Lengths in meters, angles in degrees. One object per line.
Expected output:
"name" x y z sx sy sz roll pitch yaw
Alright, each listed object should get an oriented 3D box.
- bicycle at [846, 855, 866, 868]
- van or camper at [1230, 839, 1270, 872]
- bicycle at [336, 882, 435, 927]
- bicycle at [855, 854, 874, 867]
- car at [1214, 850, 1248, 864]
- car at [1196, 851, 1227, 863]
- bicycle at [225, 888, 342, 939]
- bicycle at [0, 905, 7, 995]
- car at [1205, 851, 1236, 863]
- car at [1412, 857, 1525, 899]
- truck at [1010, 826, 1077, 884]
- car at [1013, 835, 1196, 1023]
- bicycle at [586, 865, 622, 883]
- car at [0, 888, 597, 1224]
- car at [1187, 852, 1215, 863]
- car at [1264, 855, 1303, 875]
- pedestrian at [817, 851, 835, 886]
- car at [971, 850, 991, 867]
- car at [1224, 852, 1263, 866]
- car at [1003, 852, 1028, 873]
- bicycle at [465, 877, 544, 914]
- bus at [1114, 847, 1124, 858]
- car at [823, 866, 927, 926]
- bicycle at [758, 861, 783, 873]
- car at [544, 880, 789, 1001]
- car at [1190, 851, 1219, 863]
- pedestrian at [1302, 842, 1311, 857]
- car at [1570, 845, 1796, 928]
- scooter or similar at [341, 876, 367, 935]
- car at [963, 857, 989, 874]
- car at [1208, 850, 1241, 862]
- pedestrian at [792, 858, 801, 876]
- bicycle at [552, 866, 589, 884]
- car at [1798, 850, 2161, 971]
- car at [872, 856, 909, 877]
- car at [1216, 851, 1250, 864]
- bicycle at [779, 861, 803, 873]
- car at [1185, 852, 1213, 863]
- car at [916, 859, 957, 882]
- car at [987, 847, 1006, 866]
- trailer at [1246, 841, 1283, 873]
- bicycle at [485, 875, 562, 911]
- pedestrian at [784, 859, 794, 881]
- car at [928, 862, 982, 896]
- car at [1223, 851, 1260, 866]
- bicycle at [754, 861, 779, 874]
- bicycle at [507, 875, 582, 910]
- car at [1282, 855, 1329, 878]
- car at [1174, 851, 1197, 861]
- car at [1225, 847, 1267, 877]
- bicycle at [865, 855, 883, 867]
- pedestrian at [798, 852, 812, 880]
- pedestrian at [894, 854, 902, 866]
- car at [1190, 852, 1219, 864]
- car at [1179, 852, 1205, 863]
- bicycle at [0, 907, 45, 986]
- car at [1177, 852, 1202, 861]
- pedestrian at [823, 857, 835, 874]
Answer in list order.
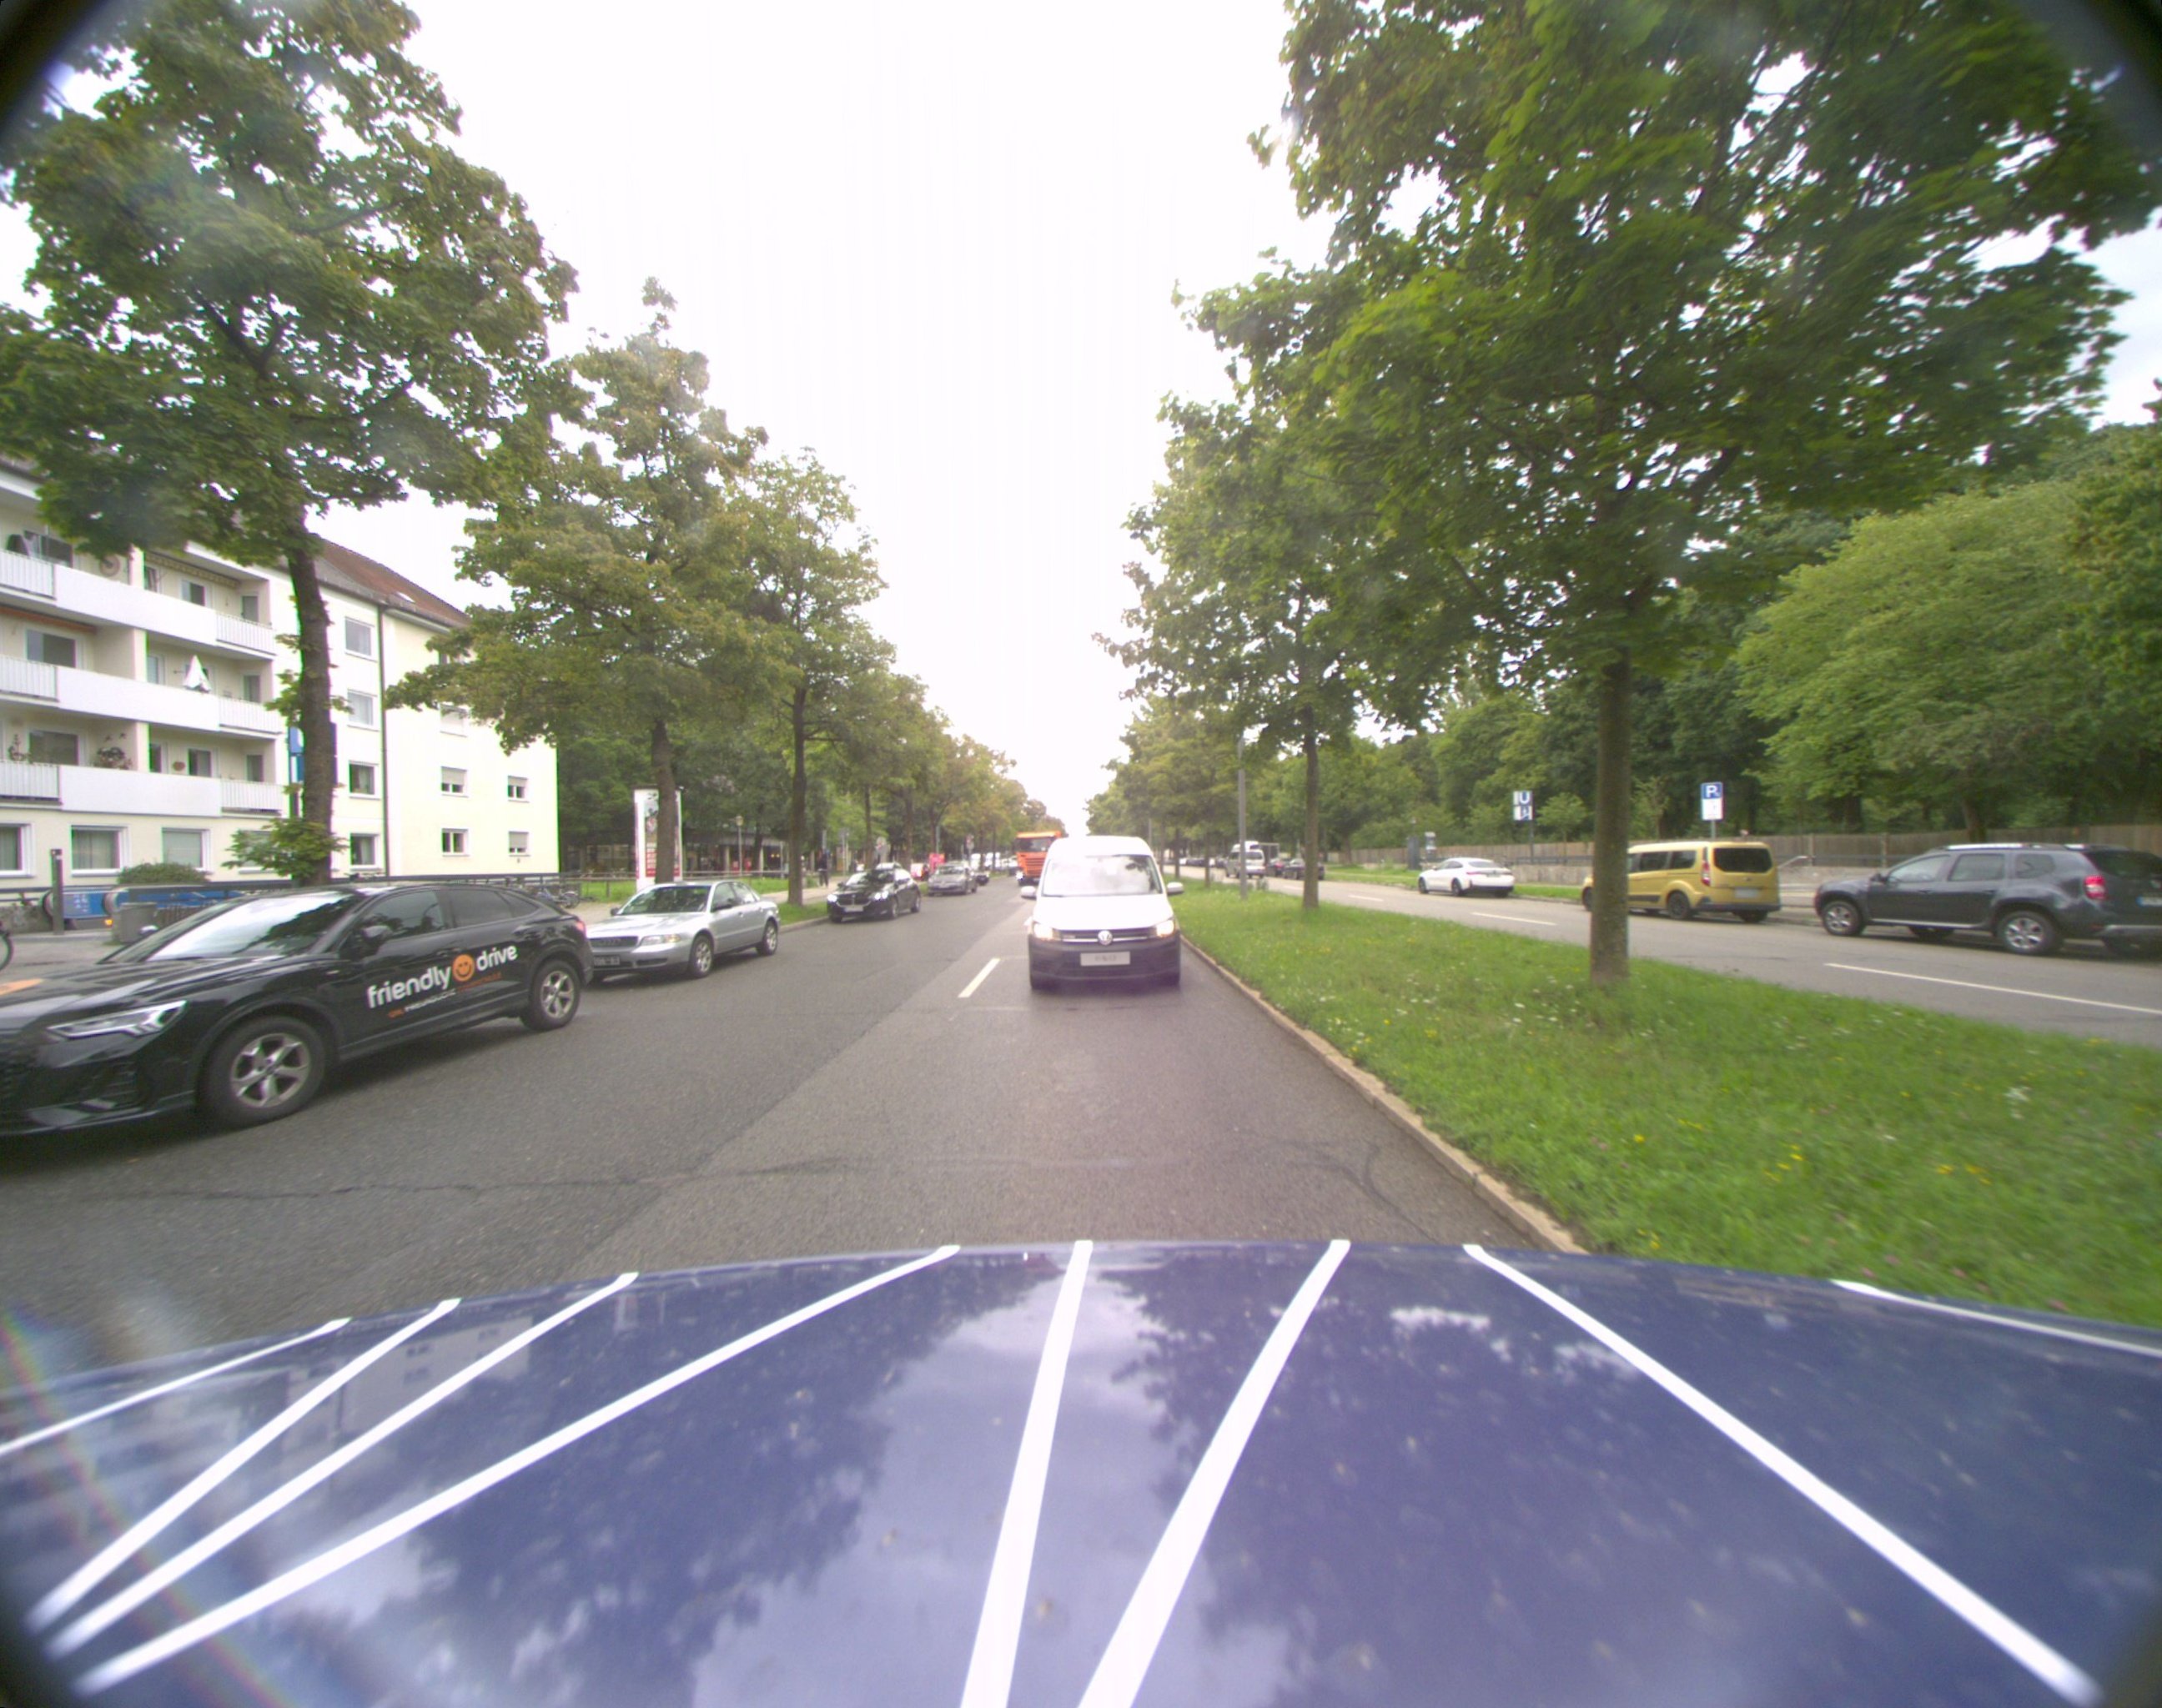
"bicycle" -28.806 0.963 97.380 2.313 1.523 0.649 -1 1 0
"van or camper" 15.177 0.101 68.715 2.040 2.821 7.546 0 0 1
"bicycle" -16.560 1.204 18.113 1.882 1.022 0.432 0 1 -2
"bicycle" -28.379 0.883 99.521 2.313 1.613 0.649 -1 1 0
"car" 19.297 0.399 97.848 4.005 1.577 1.798 -3 0 -28
"car" 18.959 0.403 110.188 4.005 1.548 1.888 -3 0 -27
"bicycle" -16.458 1.223 15.700 1.882 1.022 0.432 0 1 -2
"bicycle" -13.745 1.196 8.614 0.432 1.127 1.884 0 0 1
"car" 19.743 0.386 107.193 4.005 1.446 1.737 -3 0 -27
"car" 14.856 0.872 29.494 1.861 1.464 4.874 0 0 0
"truck" -2.176 0.050 47.748 3.046 3.170 9.135 -2 0 4
"car" 0.218 0.750 9.937 1.750 1.807 4.667 -2 0 -1
"bicycle" -26.870 1.111 42.798 1.696 0.965 0.455 -1 0 -3
"car" -6.117 1.160 6.031 1.721 1.524 4.275 -2 0 1
"car" 18.817 0.532 119.341 4.006 1.548 1.887 -3 0 -32
"car" 15.042 0.807 56.717 1.805 1.376 4.238 0 0 1
"pedestrian" -12.780 0.740 38.088 0.641 1.739 0.849 1 0 -5
"car" -15.593 0.728 118.664 2.268 2.514 5.858 -1 0 1
"car" 18.878 0.582 88.175 4.331 1.430 1.797 -2 1 -34
"car" -6.361 0.765 74.352 1.886 1.916 4.933 -2 0 0
"bicycle" -16.511 1.188 21.767 1.882 1.022 0.432 0 1 -2
"bus" 11.485 -0.555 229.847 2.676 3.279 11.925 1 1 1
"car" -5.916 1.145 22.315 1.755 1.457 4.176 -2 0 2
"bicycle" -28.817 1.218 70.554 2.080 1.114 0.455 -1 1 0
"car" -6.246 1.209 12.090 1.640 1.378 4.243 -3 0 -2
"car" 18.339 0.405 112.759 4.006 1.548 1.887 -3 0 -32
"pedestrian" 27.524 -0.567 92.810 0.770 1.757 0.874 0 1 -3
"car" 14.478 0.702 18.719 1.819 1.772 4.818 0 0 1
"scooter or similar" -15.879 1.095 16.608 0.359 1.193 1.386 -1 1 -42
"car" -9.765 1.053 71.176 1.732 1.424 4.691 -2 0 0
"car" 19.661 0.292 104.144 4.005 1.455 1.888 -3 0 -27
"pedestrian" -25.870 1.177 69.040 0.633 1.533 0.659 1 1 -28
"bicycle" -28.654 1.168 42.672 1.696 0.965 0.455 -1 0 -3
"car" 14.669 0.775 12.493 1.741 1.636 4.255 0 0 0
"car" -15.846 1.026 63.427 1.826 1.624 4.198 0 0 3
"car" 18.955 0.446 94.858 4.006 1.477 1.797 -3 0 -34
"bicycle" -28.218 1.244 73.911 2.080 1.114 0.455 -1 1 0
"car" 19.081 0.558 122.814 4.006 1.548 1.887 -3 0 -32
"car" -9.663 1.092 51.133 1.726 1.371 4.352 -2 0 2
"car" -12.509 0.362 113.175 1.978 2.641 6.006 -2 0 0
"trailer" 15.085 0.225 62.662 2.022 2.575 4.658 0 0 1
"bicycle" -16.589 1.153 22.631 1.883 1.022 0.432 0 1 -5
"pedestrian" -20.908 1.149 54.378 0.581 1.565 0.780 -2 1 -23
"car" -5.936 1.145 36.241 1.686 1.457 4.115 -2 0 2
"car" 19.457 0.544 91.872 4.331 1.564 1.797 -2 1 -34
"bicycle" -29.474 1.257 71.177 2.080 1.114 0.455 -1 1 0
"bicycle" -16.351 1.176 23.188 1.883 1.022 0.432 0 1 -7
"car" 14.798 0.802 50.308 1.805 1.417 4.431 0 0 1
"car" 18.973 0.329 138.230 4.006 1.718 1.777 -2 1 -34
"car" 11.412 0.513 52.824 1.804 1.922 4.993 0 1 0
"bicycle" -28.460 0.948 104.274 2.316 1.613 0.648 -1 1 -16
"pedestrian" -17.550 0.771 48.269 0.642 1.720 0.599 -3 1 -38
"pedestrian" -26.964 0.848 112.165 0.872 1.689 0.771 0 2 15
"car" 18.967 0.575 116.412 4.006 1.548 1.887 -3 0 -32
"car" 18.785 0.580 128.355 4.006 1.548 1.887 -3 0 -32
"bicycle" -14.688 1.252 9.649 0.432 1.022 1.884 0 0 1
"car" 18.780 0.457 131.612 4.006 1.358 1.588 -2 1 -30
"pedestrian" -22.956 1.046 69.148 0.658 1.584 0.755 -2 1 19
